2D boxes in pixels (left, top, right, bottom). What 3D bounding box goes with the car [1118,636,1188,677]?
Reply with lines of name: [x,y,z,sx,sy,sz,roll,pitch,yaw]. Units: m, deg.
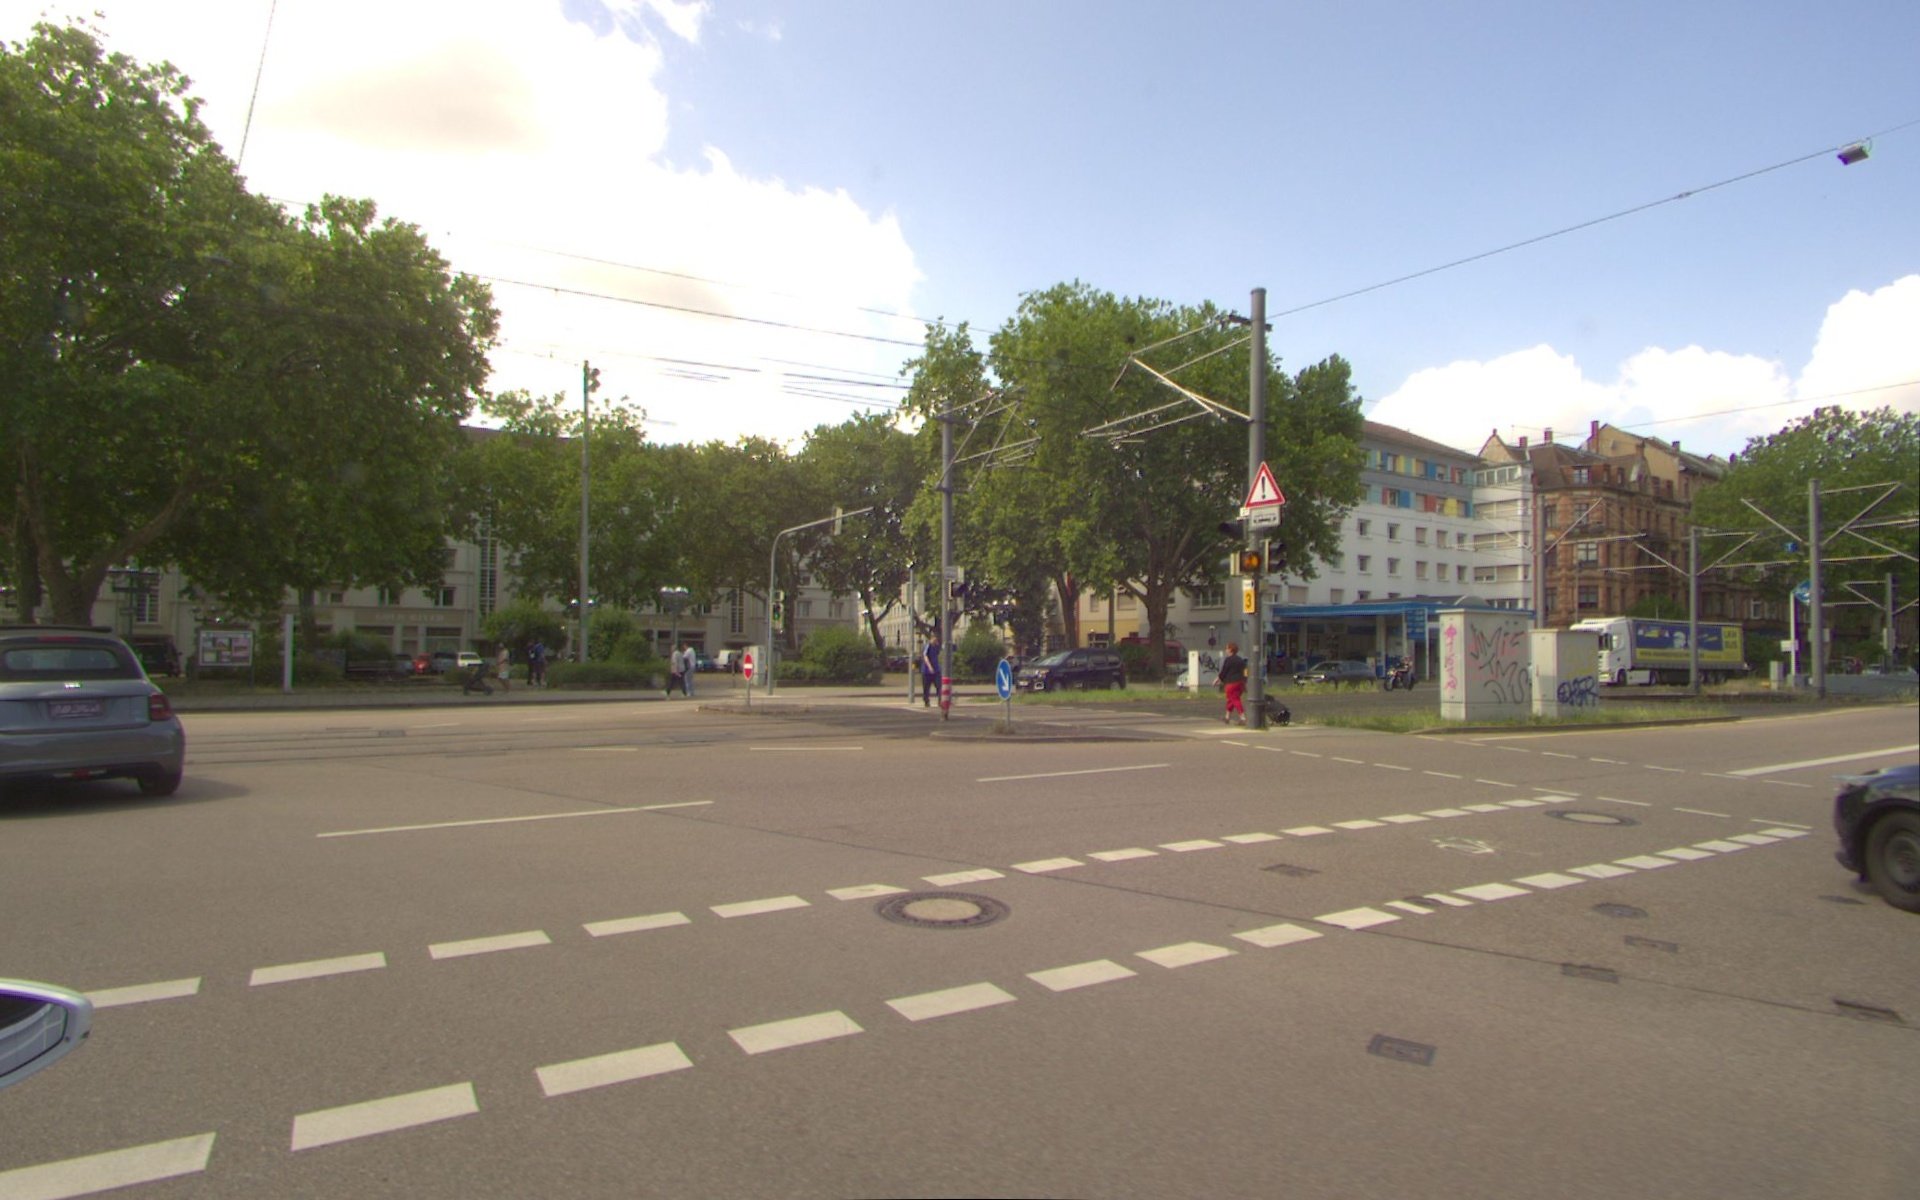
car: [11.980,3.489,62.162,3.947,2.450,2.101,2,-3,-33]

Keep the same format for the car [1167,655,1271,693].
car: [10.677,3.026,41.152,4.271,1.484,1.724,3,-3,-33]

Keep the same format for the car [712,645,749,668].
car: [-20.350,4.960,88.680,1.973,1.988,3.980,2,-3,-31]

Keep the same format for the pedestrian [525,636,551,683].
pedestrian: [-16.351,2.300,38.790,0.597,1.772,0.695,-1,-2,33]

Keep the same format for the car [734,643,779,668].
car: [-16.025,4.349,78.763,2.075,1.929,4.468,2,-3,-31]

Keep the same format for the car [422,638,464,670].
car: [-34.472,3.580,66.701,1.975,2.038,3.975,2,-3,-35]

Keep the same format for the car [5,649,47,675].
car: [-51.038,3.388,54.753,1.454,1.406,3.210,3,-4,-40]

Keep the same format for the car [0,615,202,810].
car: [-8.789,0.945,9.388,3.421,1.557,1.688,-1,-3,35]

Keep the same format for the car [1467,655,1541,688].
car: [29.580,3.869,54.430,4.080,1.726,1.844,2,-3,-33]

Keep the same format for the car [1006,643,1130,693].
car: [4.005,2.479,36.778,4.360,1.748,1.844,2,-3,-33]

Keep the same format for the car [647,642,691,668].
car: [-21.843,4.140,75.174,2.075,1.929,4.468,2,-3,-31]

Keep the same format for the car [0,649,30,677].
car: [-48.740,3.200,51.335,1.455,1.406,3.040,3,-4,-42]

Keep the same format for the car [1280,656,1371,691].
car: [16.492,3.267,45.134,3.920,1.465,1.844,2,-3,-33]

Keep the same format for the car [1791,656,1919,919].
car: [6.714,1.092,4.680,1.751,1.553,4.388,3,-3,-5]

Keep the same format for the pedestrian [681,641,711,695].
pedestrian: [-8.885,2.270,33.764,0.683,1.786,0.667,-1,-2,33]

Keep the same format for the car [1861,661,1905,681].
car: [78.104,5.974,84.705,3.947,1.651,1.793,2,-3,-33]

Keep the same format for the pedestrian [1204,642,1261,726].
pedestrian: [5.088,1.551,18.684,0.767,1.511,0.652,1,-1,44]

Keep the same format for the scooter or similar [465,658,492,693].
scooter or similar: [-15.172,2.382,31.559,0.699,1.069,0.488,2,-3,-32]

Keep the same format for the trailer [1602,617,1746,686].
trailer: [45.793,3.295,64.071,11.485,4.128,2.904,2,-3,-30]

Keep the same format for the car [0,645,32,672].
car: [-59.173,3.646,62.551,1.453,1.686,3.045,2,-4,-37]

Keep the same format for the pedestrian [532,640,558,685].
pedestrian: [-16.778,2.521,40.495,0.597,1.772,0.695,-1,-2,33]

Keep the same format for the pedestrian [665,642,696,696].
pedestrian: [-9.247,2.284,33.128,0.683,1.744,0.716,-1,-2,33]

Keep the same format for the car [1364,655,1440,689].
car: [21.384,3.477,48.422,3.704,1.582,1.676,2,-3,-33]

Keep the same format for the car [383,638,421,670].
car: [-36.643,3.529,65.709,1.973,2.038,3.979,2,-3,-32]

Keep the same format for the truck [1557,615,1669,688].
truck: [39.403,3.123,60.420,6.496,4.200,2.905,2,-3,-29]

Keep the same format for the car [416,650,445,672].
car: [-39.911,4.589,75.452,1.720,1.657,3.980,2,-3,-31]

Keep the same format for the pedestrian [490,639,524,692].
pedestrian: [-14.473,2.101,32.004,0.910,1.666,0.567,2,-2,-32]

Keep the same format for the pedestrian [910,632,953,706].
pedestrian: [-0.696,1.667,24.341,0.734,1.753,0.767,2,-2,-34]

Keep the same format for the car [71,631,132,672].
car: [-48.245,2.925,56.351,1.974,2.209,4.234,2,-4,-33]

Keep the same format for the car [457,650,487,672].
car: [-37.526,4.677,76.957,1.720,1.657,3.980,2,-3,-31]

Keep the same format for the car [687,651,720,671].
car: [-22.345,5.272,87.138,1.720,1.657,3.980,2,-3,-31]

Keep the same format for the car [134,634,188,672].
car: [-46.292,3.098,58.070,1.974,2.101,3.978,2,-4,-33]

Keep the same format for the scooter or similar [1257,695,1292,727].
scooter or similar: [5.695,2.007,18.149,0.516,0.542,0.308,1,-2,44]
